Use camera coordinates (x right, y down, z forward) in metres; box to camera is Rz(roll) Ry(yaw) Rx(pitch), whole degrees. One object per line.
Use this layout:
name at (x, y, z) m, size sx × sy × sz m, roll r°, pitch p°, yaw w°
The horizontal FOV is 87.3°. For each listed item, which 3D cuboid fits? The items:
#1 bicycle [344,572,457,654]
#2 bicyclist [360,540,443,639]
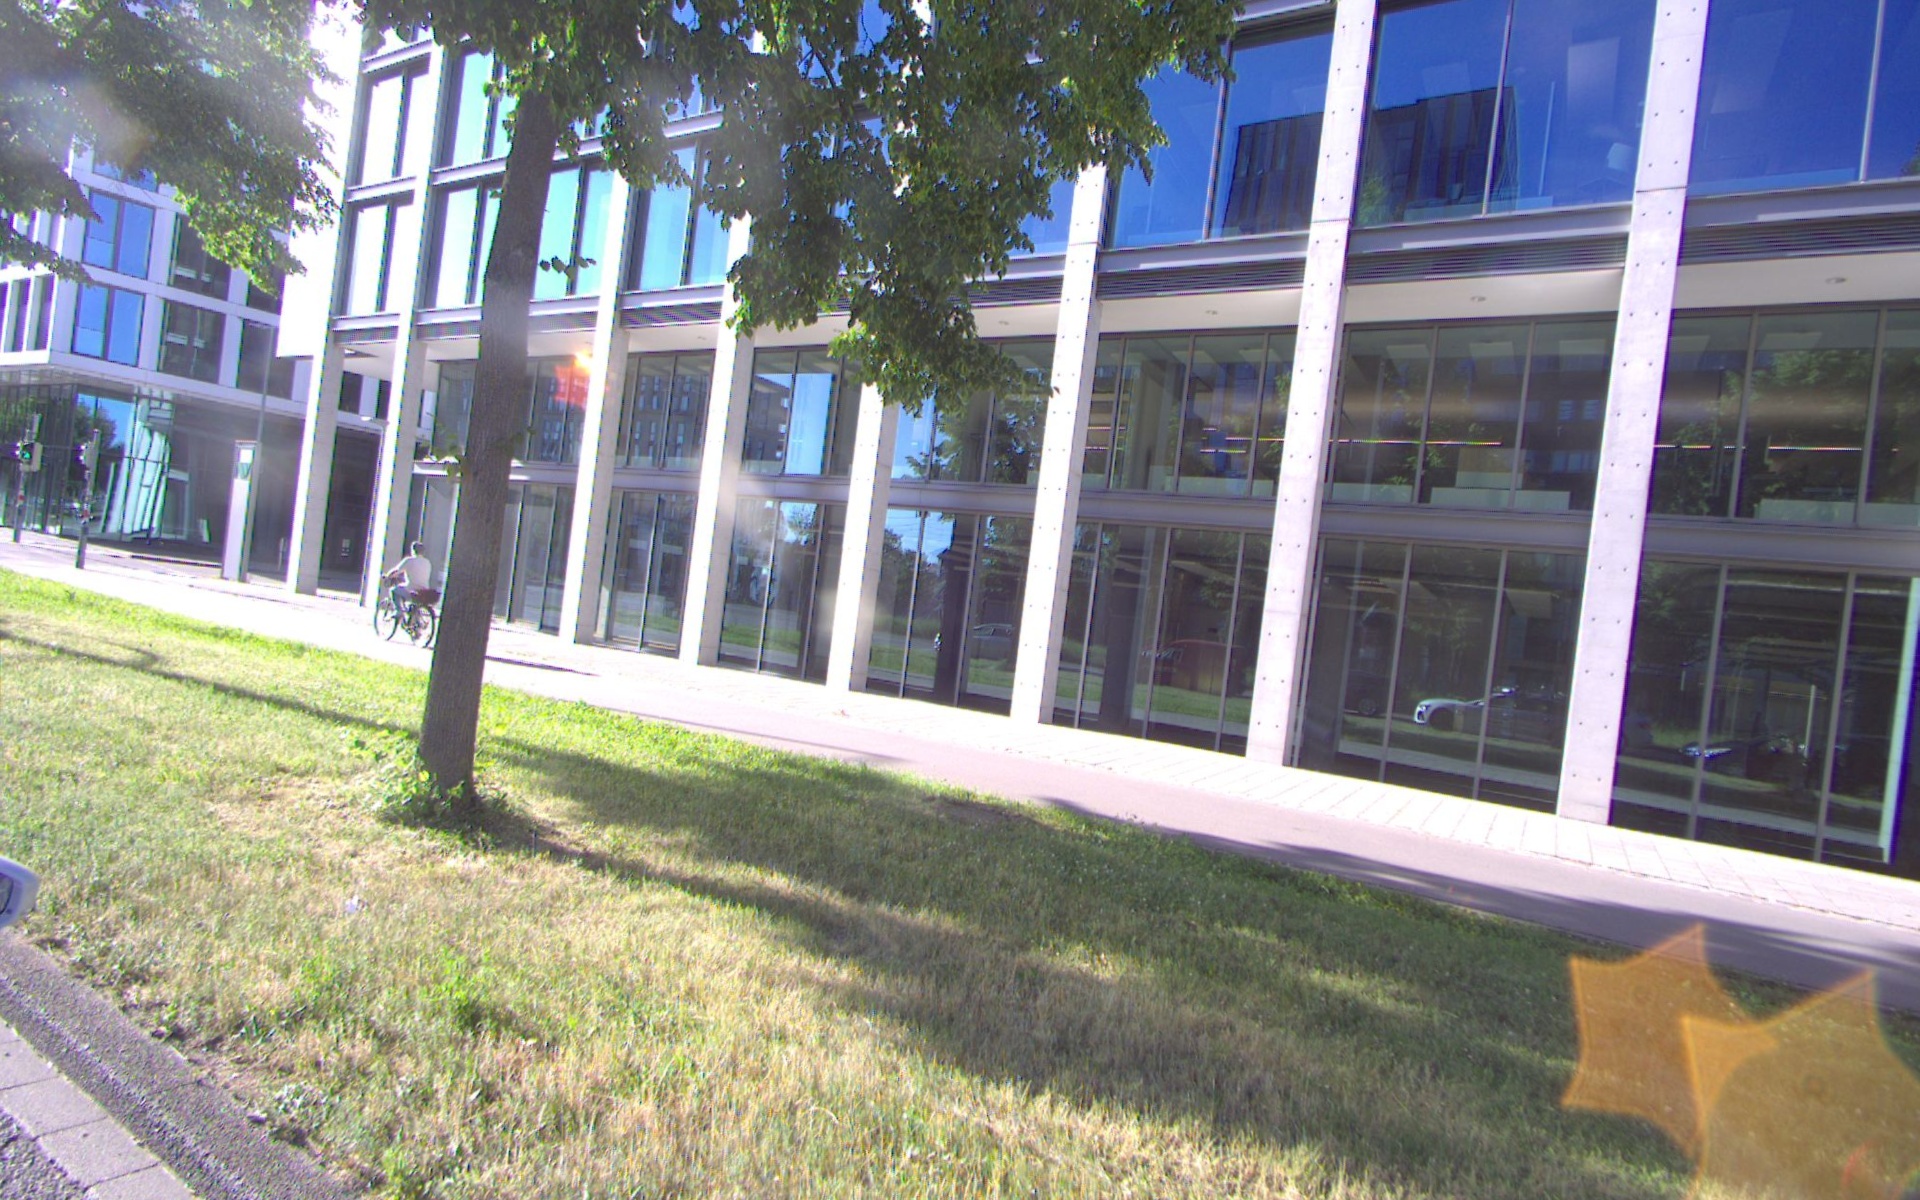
bicycle at (-9.468, 0.205, 17.004) m, size 1.929 × 1.189 × 0.742 m, roll 6°, pitch 1°, yaw 32°
bicyclist at (-9.426, -0.173, 16.994) m, size 0.835 × 1.550 × 0.772 m, roll 7°, pitch 0°, yaw 31°
